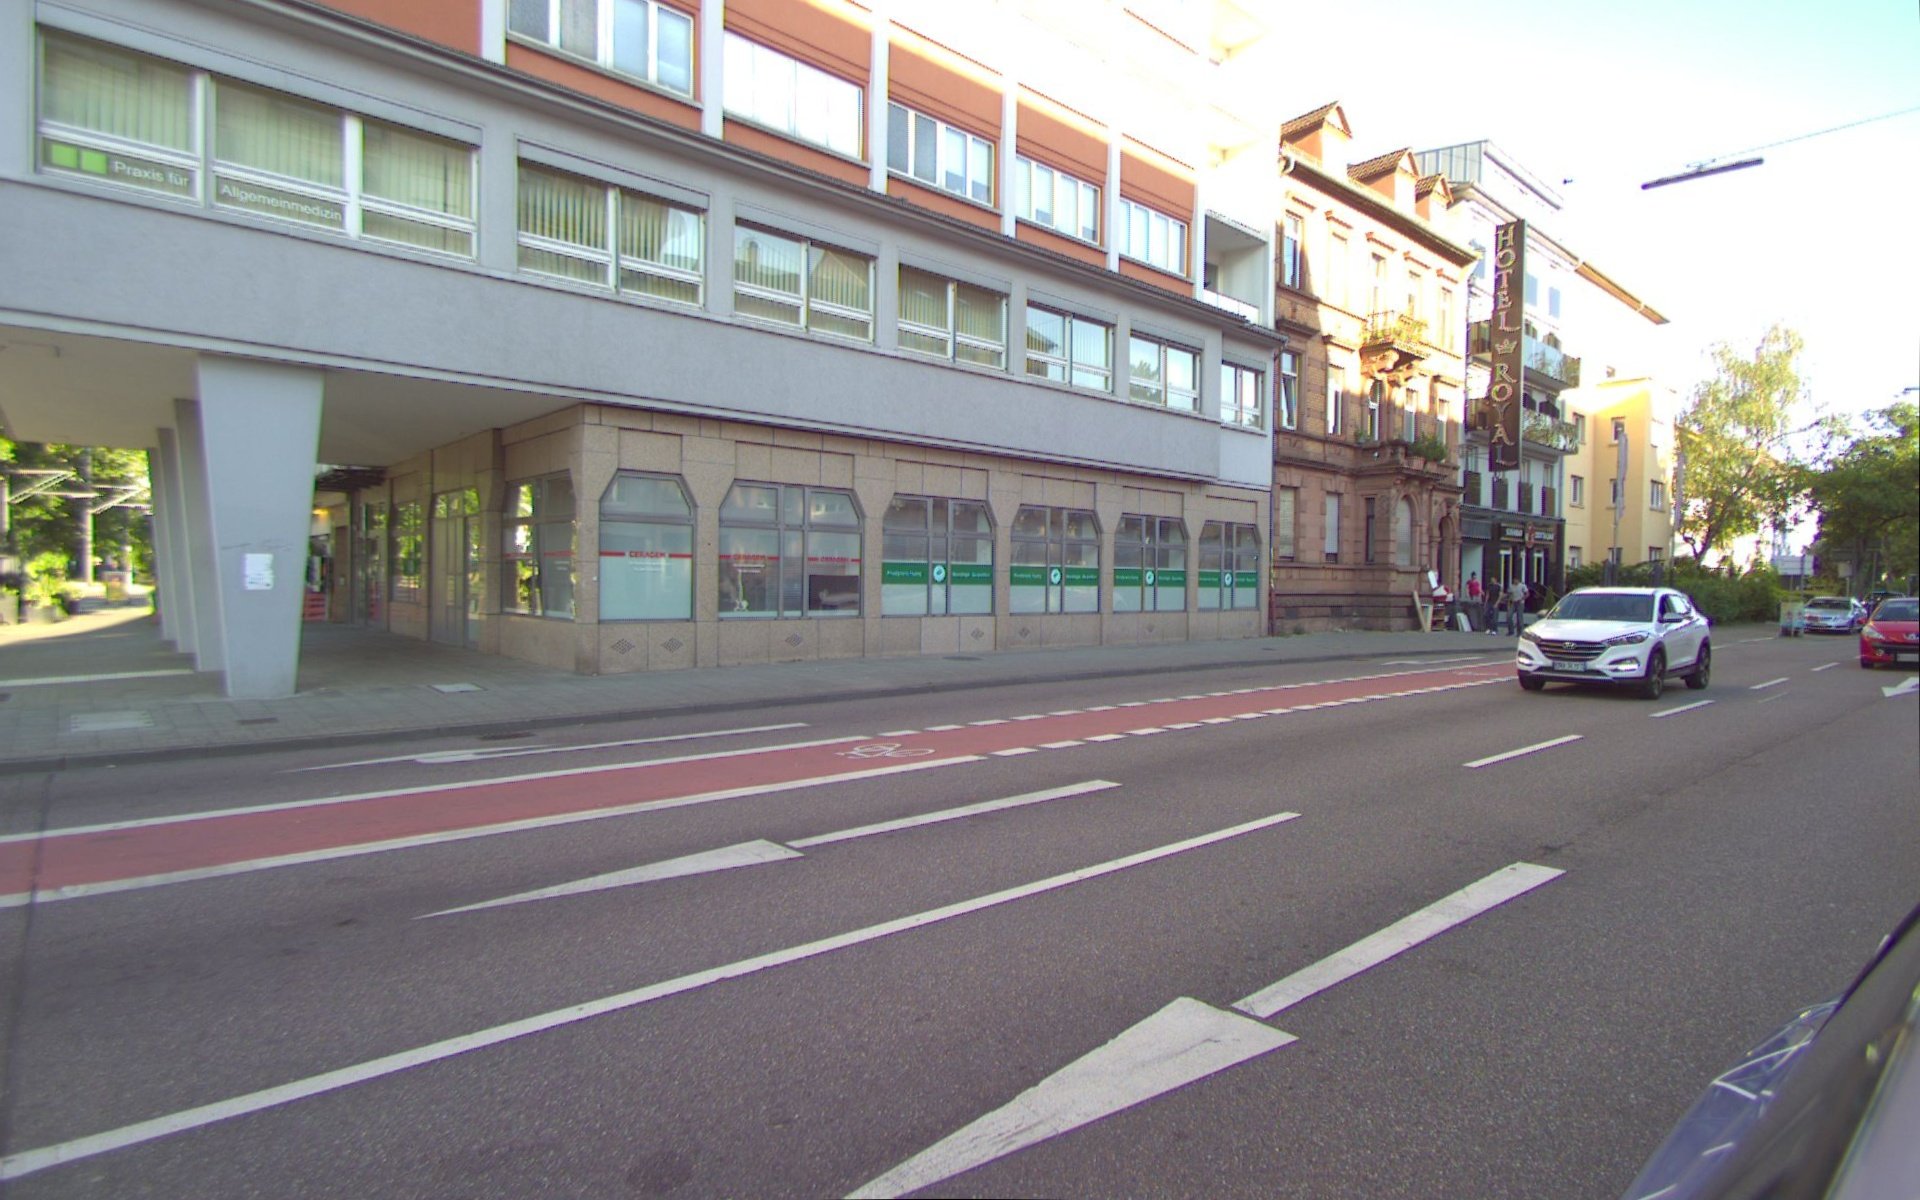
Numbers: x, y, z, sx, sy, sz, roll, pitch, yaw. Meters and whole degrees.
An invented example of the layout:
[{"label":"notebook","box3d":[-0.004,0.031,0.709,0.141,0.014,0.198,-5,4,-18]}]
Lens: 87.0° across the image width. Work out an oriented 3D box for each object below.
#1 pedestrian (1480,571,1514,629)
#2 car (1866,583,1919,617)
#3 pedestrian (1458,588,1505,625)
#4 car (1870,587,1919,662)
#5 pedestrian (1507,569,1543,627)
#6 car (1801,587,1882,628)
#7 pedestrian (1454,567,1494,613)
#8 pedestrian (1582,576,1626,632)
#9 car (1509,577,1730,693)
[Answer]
[{"label":"pedestrian","box3d":[16.628,-0.018,31.325,0.666,1.747,0.995,2,1,43]},{"label":"car","box3d":[47.438,-0.012,51.201,4.121,1.645,1.946,0,1,-42]},{"label":"pedestrian","box3d":[16.808,0.202,32.603,0.909,1.150,1.099,0,1,-43]},{"label":"car","box3d":[20.556,0.469,21.262,3.930,1.481,1.673,-1,0,-41]},{"label":"pedestrian","box3d":[17.170,-0.072,30.738,0.994,1.747,0.667,0,1,-44]},{"label":"car","box3d":[35.736,0.260,41.001,4.003,1.536,1.905,0,1,-41]},{"label":"pedestrian","box3d":[18.860,-0.373,37.148,0.723,1.606,1.014,2,4,-10]},{"label":"pedestrian","box3d":[19.682,0.116,30.929,0.992,1.621,0.739,0,4,-37]},{"label":"car","box3d":[10.718,0.470,16.342,4.195,1.627,1.920,-1,0,-41]}]
